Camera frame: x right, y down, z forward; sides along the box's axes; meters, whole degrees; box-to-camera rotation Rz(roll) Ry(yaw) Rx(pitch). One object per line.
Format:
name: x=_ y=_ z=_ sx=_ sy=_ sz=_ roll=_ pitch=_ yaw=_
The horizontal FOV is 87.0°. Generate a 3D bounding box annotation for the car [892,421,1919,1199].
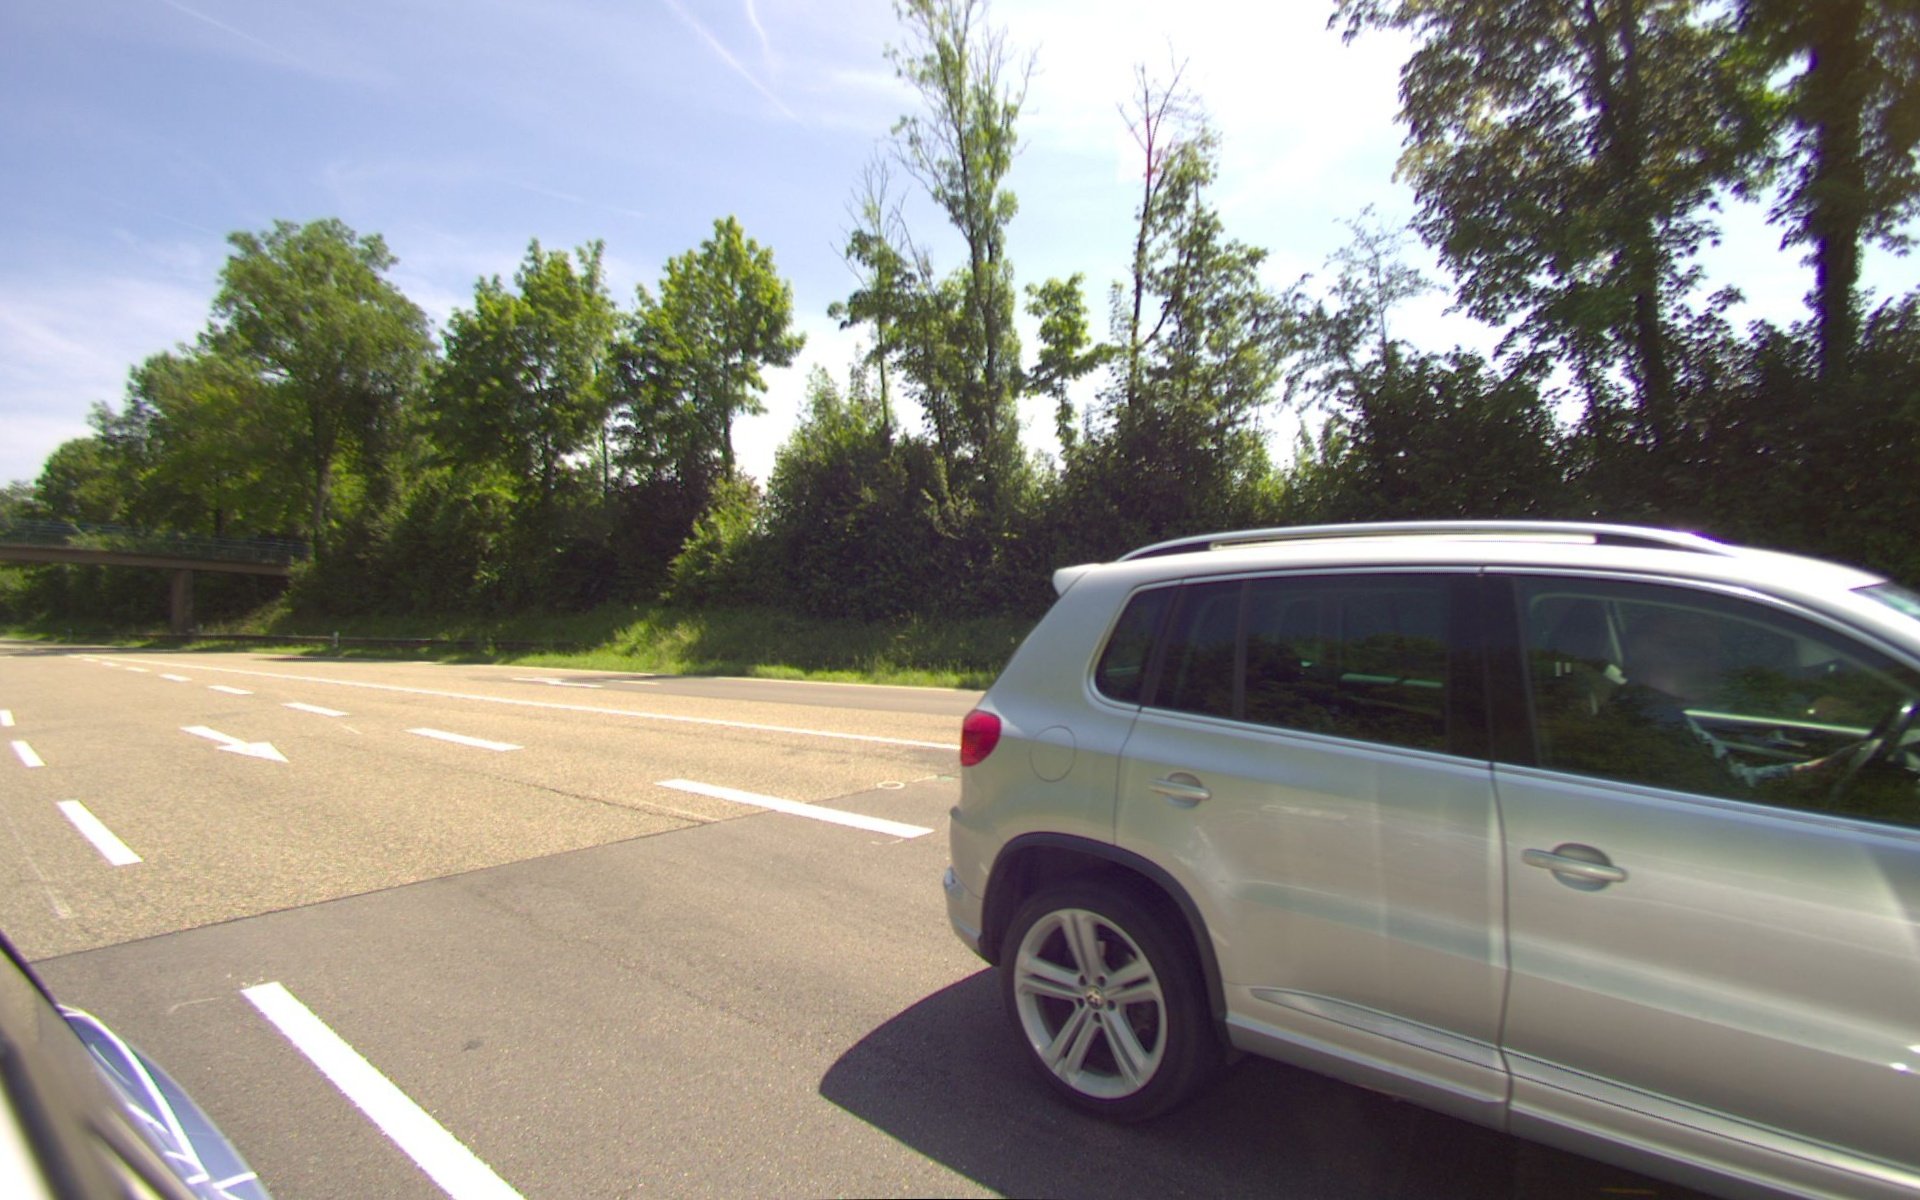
car: x=1.986 y=0.532 z=2.595 sx=4.289 sy=1.682 sz=1.786 roll=-2 pitch=0 yaw=41
